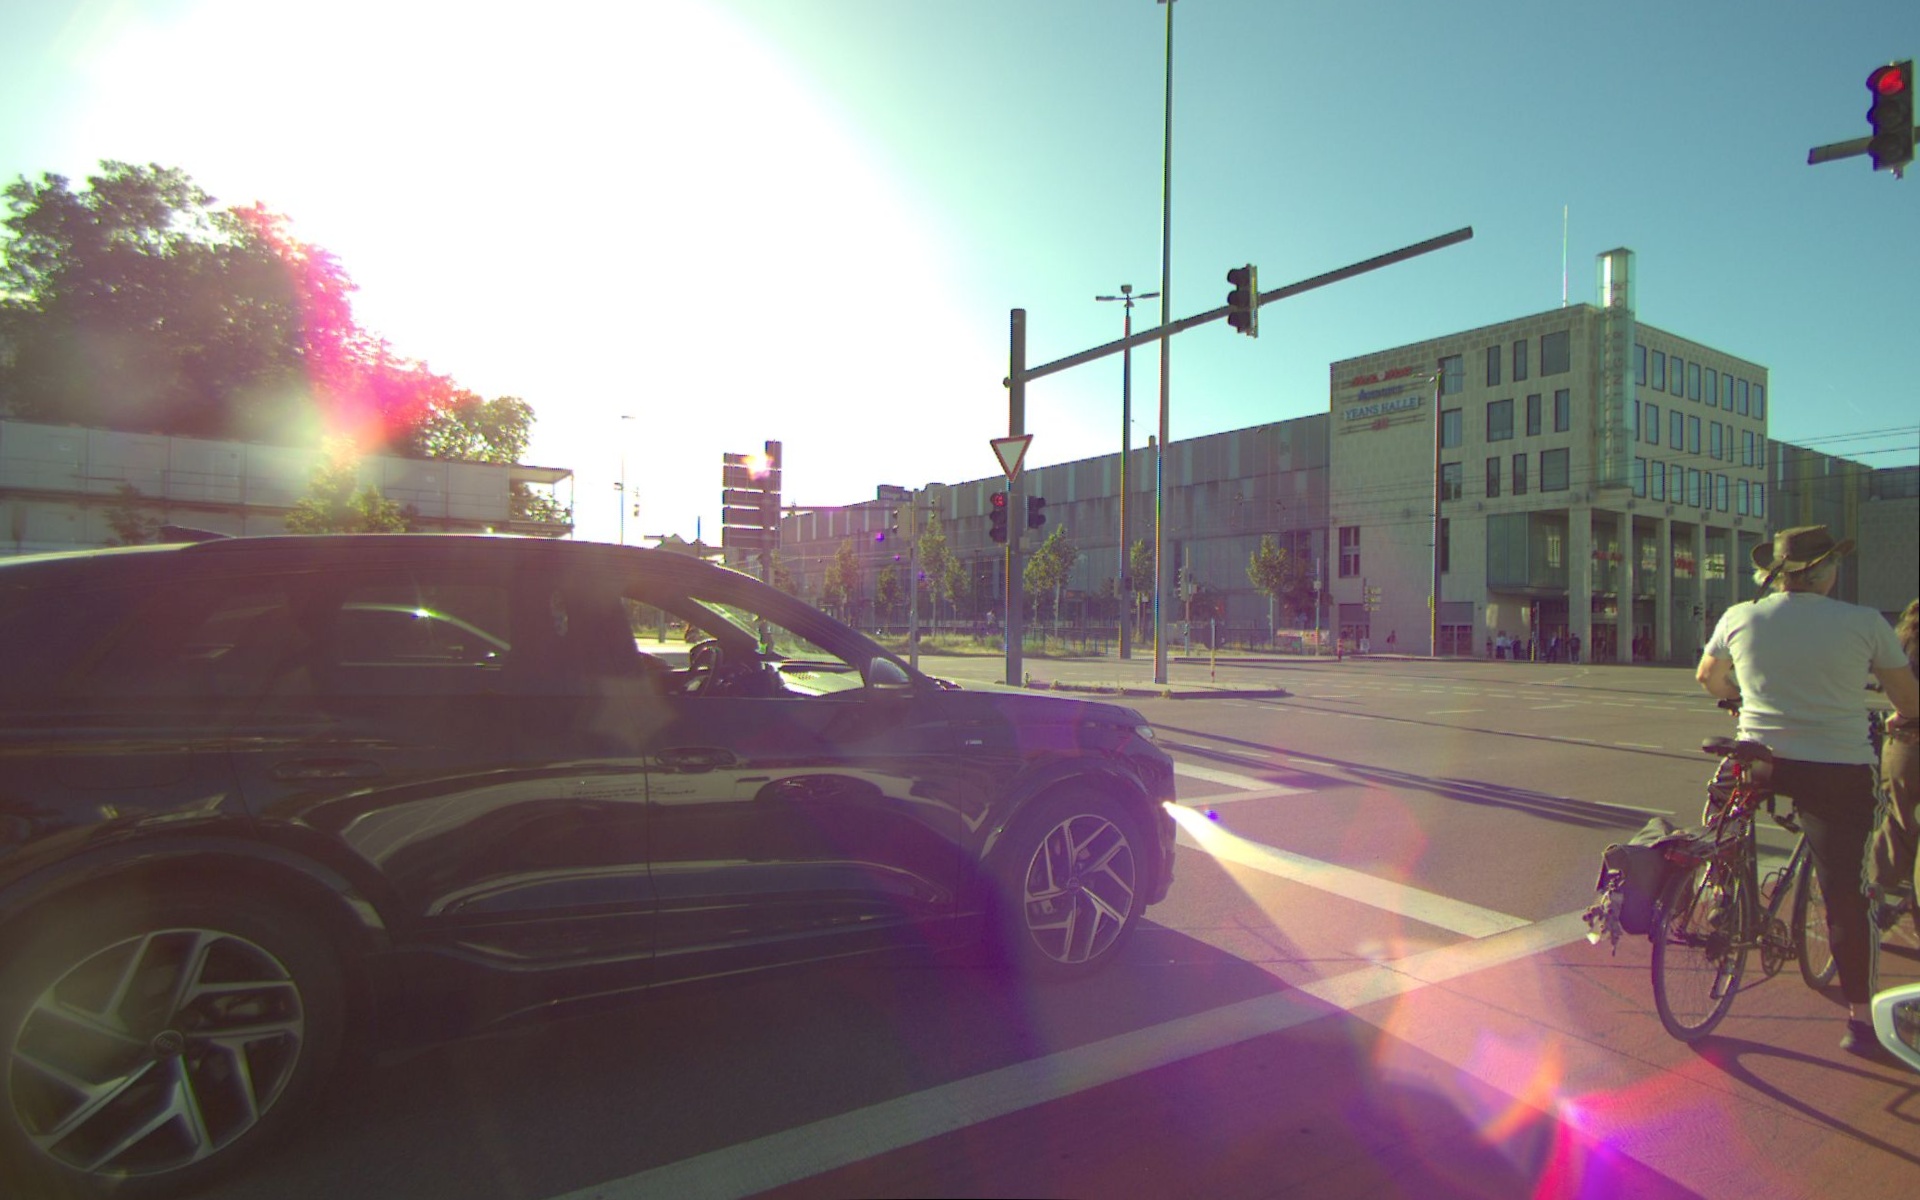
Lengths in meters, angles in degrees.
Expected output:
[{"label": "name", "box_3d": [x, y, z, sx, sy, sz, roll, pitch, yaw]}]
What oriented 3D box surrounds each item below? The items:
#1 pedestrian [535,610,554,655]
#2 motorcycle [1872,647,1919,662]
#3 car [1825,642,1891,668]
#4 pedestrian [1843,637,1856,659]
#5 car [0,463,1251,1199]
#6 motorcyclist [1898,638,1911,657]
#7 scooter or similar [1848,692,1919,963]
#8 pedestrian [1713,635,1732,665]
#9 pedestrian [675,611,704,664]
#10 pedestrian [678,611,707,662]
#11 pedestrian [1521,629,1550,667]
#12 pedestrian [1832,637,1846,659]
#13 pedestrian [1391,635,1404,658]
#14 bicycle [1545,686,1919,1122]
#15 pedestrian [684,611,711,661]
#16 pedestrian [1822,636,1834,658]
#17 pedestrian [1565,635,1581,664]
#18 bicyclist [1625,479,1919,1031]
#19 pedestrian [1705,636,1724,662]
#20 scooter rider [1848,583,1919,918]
[{"label": "pedestrian", "box_3d": [-15.307, 1.199, 37.012, 0.565, 1.632, 0.564, 2, 0, -16]}, {"label": "motorcycle", "box_3d": [70.530, 4.112, 75.656, 1.106, 1.006, 2.582, 2, 0, -38]}, {"label": "car", "box_3d": [49.670, 3.005, 55.544, 3.975, 1.375, 1.668, 1, -1, -31]}, {"label": "pedestrian", "box_3d": [73.083, 3.922, 82.517, 0.616, 1.752, 0.471, 2, 0, -1]}, {"label": "car", "box_3d": [-1.267, 0.589, 4.045, 4.612, 1.729, 2.154, 1, 0, -32]}, {"label": "motorcyclist", "box_3d": [70.927, 3.570, 75.433, 0.657, 1.424, 0.623, 2, 0, -38]}, {"label": "scooter or similar", "box_3d": [4.390, 1.010, 4.661, 0.832, 1.122, 0.303, 2, -1, -42]}, {"label": "pedestrian", "box_3d": [43.127, 2.826, 56.821, 0.612, 1.710, 0.697, 1, -1, -29]}, {"label": "pedestrian", "box_3d": [-8.659, 1.191, 32.197, 0.736, 1.632, 0.716, 2, 0, -5]}, {"label": "pedestrian", "box_3d": [-8.715, 1.192, 32.754, 0.736, 1.632, 0.716, 2, 0, -5]}, {"label": "pedestrian", "box_3d": [26.178, 2.190, 45.692, 0.994, 1.697, 0.818, 1, -1, -33]}, {"label": "pedestrian", "box_3d": [71.064, 3.856, 81.202, 0.615, 1.752, 0.472, 2, 0, 4]}, {"label": "pedestrian", "box_3d": [29.339, 3.127, 67.382, 0.622, 1.562, 0.589, 1, -1, -30]}, {"label": "bicycle", "box_3d": [3.039, 0.940, 3.685, 1.868, 1.162, 0.735, 1, -1, -30]}, {"label": "pedestrian", "box_3d": [-8.794, 1.194, 33.649, 0.736, 1.632, 0.716, 2, 0, -5]}, {"label": "pedestrian", "box_3d": [71.463, 3.875, 82.721, 0.510, 1.752, 0.472, 2, 0, 9]}, {"label": "pedestrian", "box_3d": [35.721, 2.858, 58.557, 0.622, 1.667, 0.589, 1, -1, -30]}, {"label": "bicyclist", "box_3d": [3.102, 0.497, 3.705, 0.842, 1.723, 0.802, 1, -1, -30]}, {"label": "pedestrian", "box_3d": [49.109, 3.181, 65.355, 0.616, 1.660, 0.776, 1, -1, -17]}, {"label": "scooter rider", "box_3d": [4.646, 0.703, 4.784, 0.445, 1.550, 0.548, 1, -1, -38]}]
